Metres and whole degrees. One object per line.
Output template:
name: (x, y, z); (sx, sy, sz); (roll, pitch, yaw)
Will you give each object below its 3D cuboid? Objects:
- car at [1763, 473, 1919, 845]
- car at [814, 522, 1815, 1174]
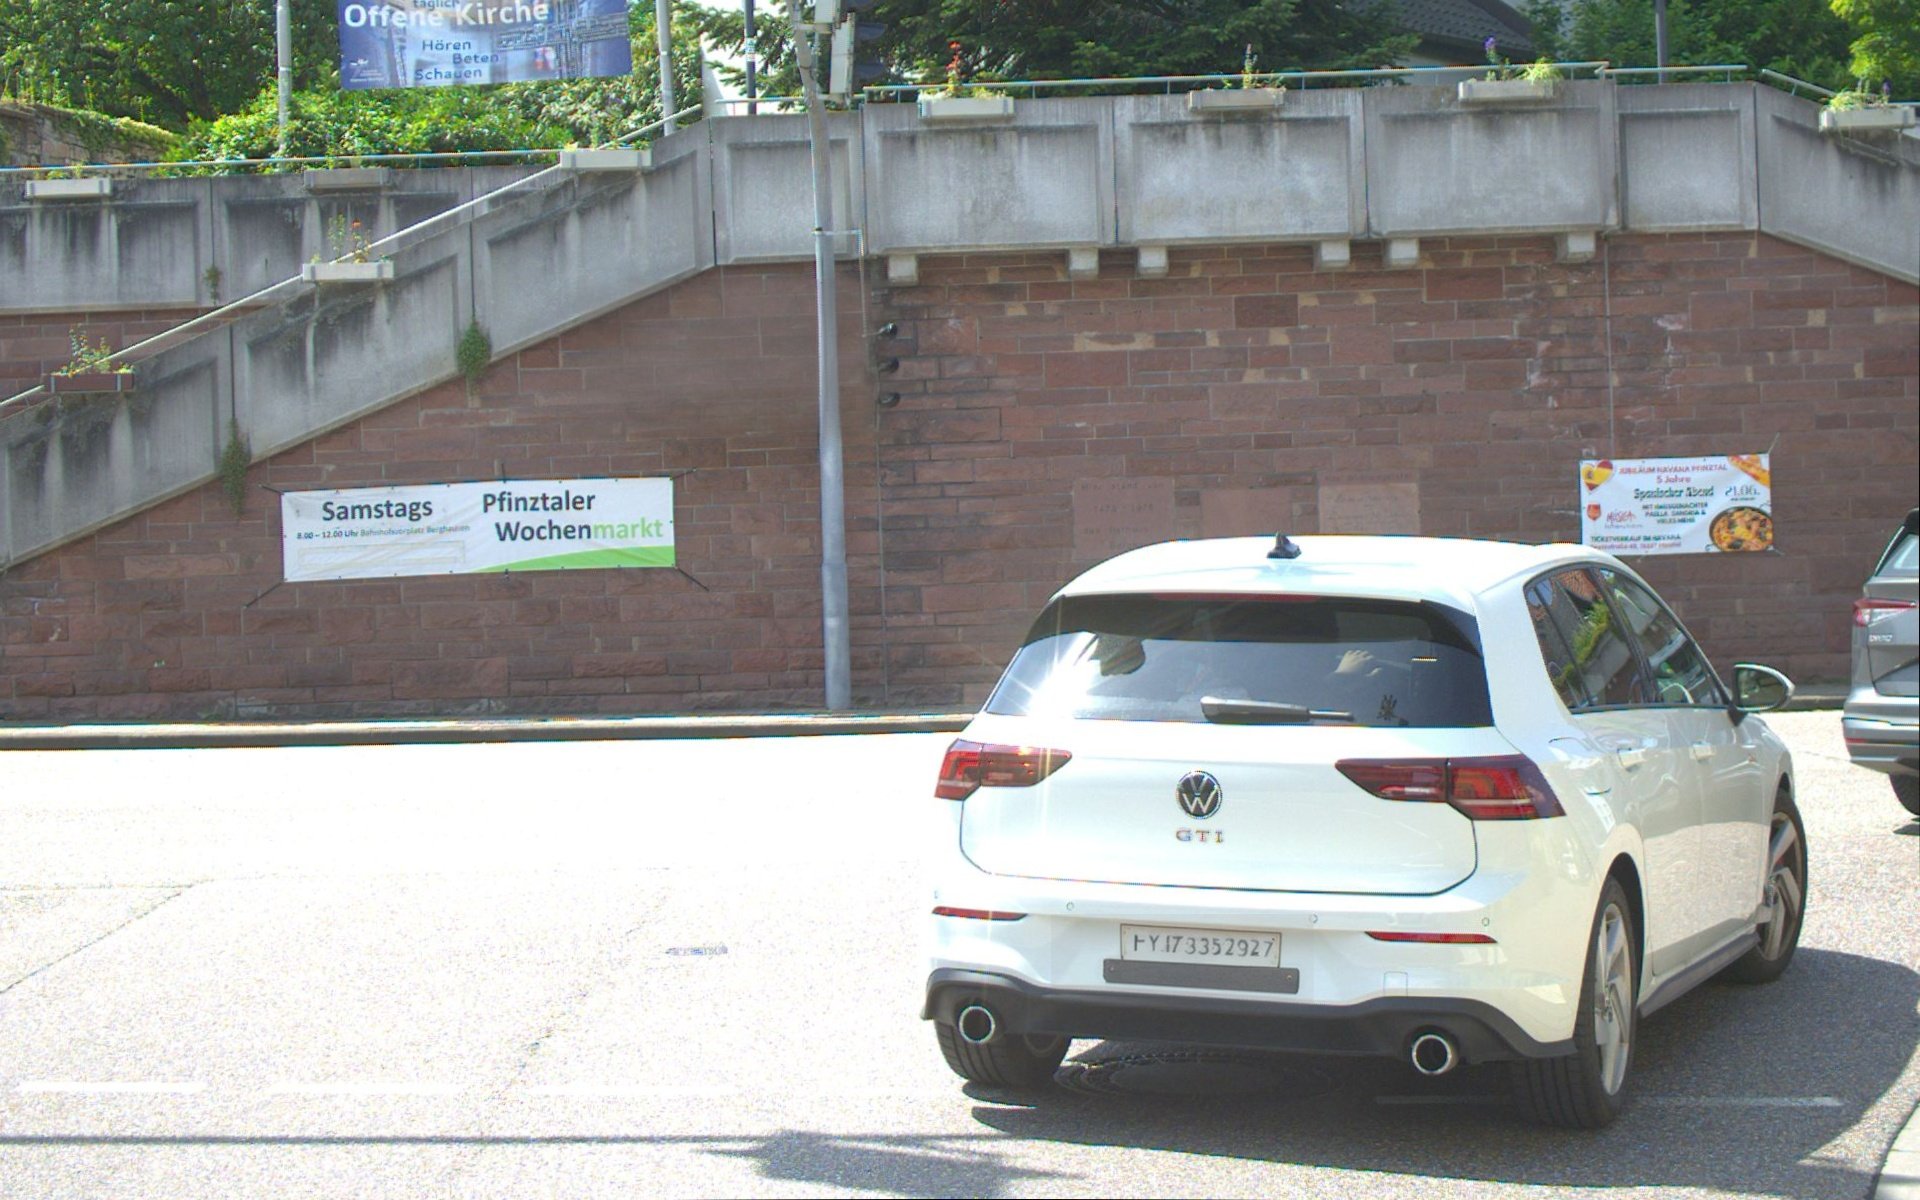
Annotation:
car: (5.809, 0.176, 15.848); (4.314, 1.577, 1.955); (-3, 2, -41)
car: (1.219, 0.533, 9.787); (1.785, 1.453, 3.859); (-1, 1, 22)
